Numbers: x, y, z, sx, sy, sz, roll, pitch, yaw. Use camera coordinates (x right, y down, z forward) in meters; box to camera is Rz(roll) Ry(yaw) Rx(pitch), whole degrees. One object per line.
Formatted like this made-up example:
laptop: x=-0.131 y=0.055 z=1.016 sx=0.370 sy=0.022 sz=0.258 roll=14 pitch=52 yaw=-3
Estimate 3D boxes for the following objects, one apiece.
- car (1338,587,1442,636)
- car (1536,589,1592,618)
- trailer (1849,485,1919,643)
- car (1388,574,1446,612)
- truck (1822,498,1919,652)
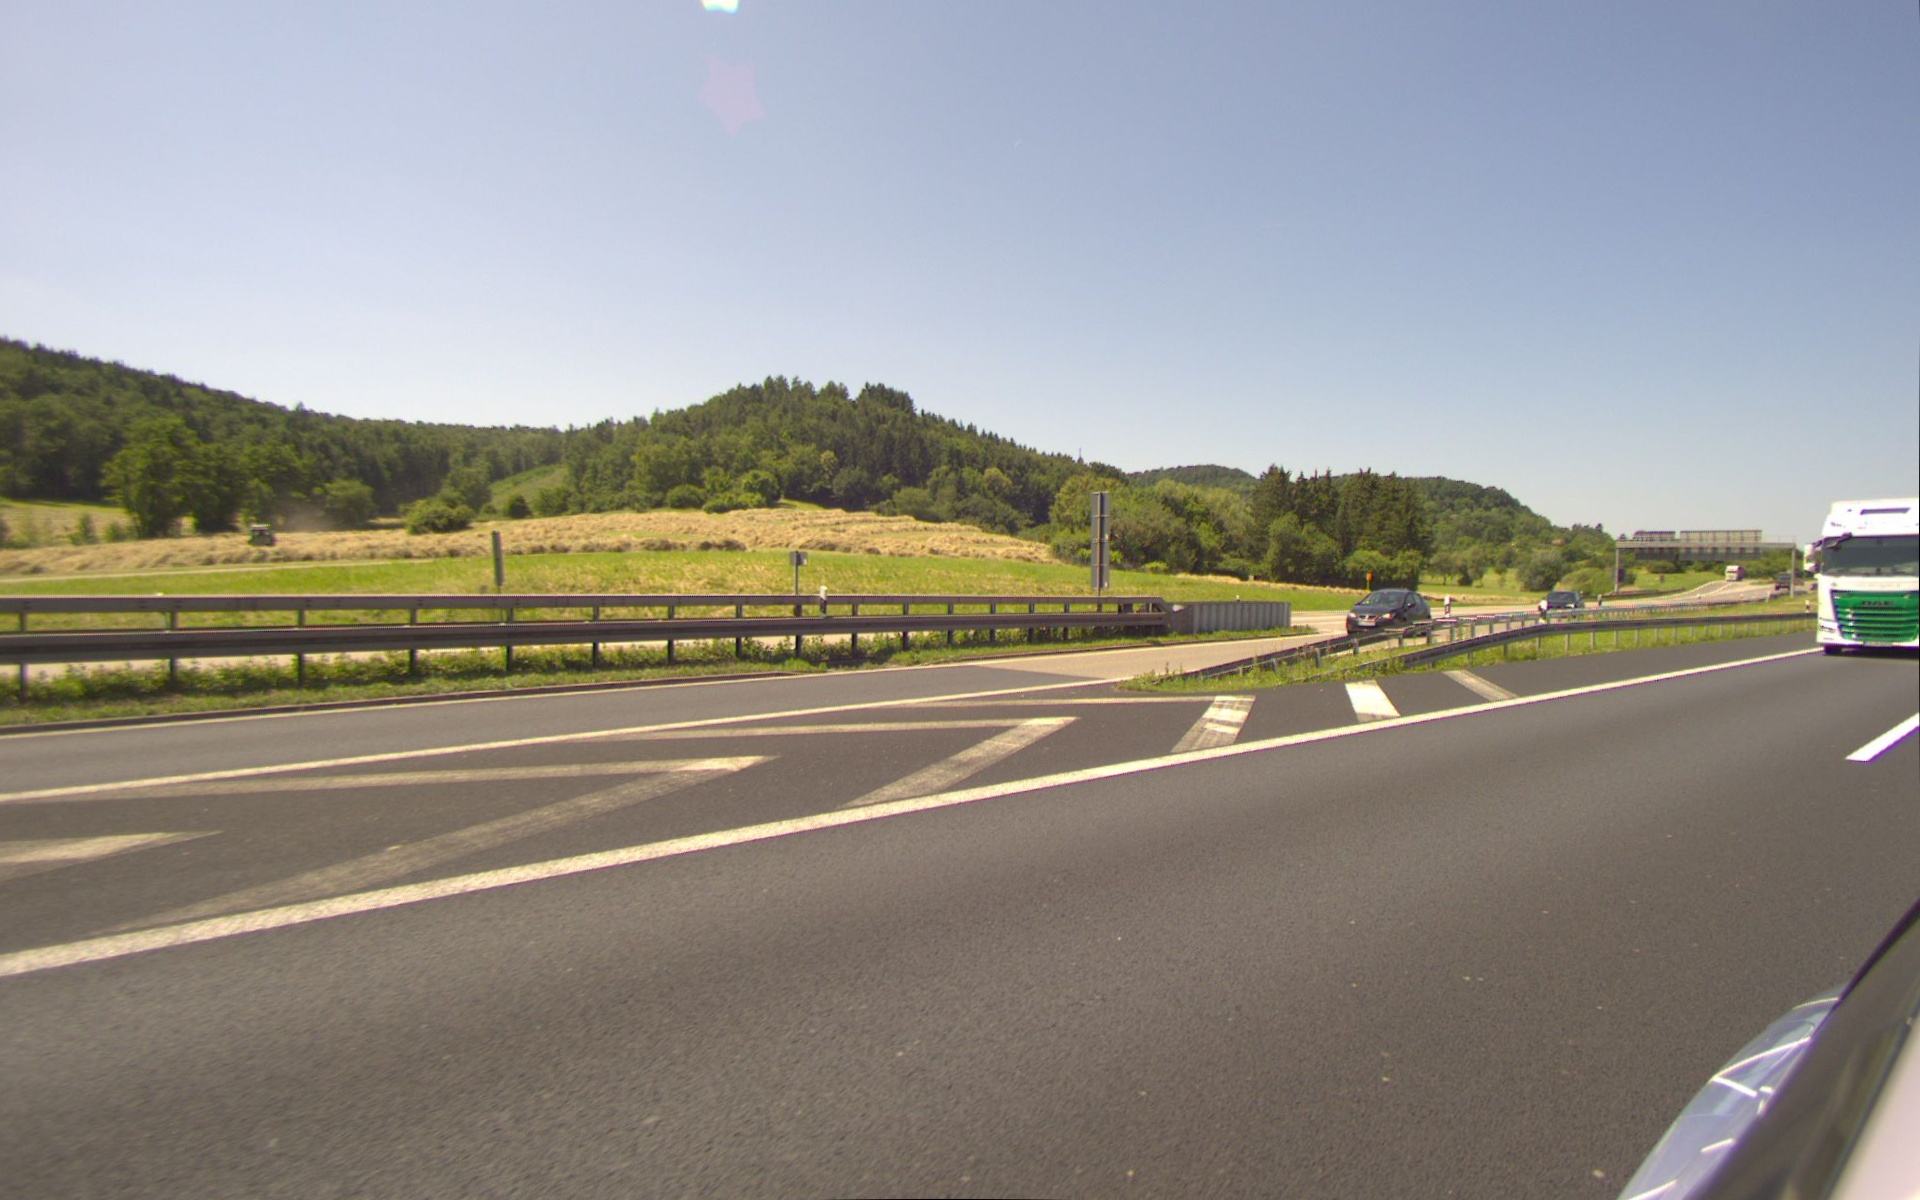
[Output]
car: x=13.453 y=0.318 z=31.563 sx=1.777 sy=1.417 sz=3.701 roll=0 pitch=0 yaw=44
car: x=32.240 y=0.164 z=54.003 sx=1.885 sy=1.491 sz=3.809 roll=0 pitch=0 yaw=42
trailer: x=31.070 y=-1.018 z=31.951 sx=14.636 sy=4.241 sz=2.660 roll=-1 pitch=0 yaw=-41
car: x=25.802 y=-0.432 z=57.050 sx=1.991 sy=2.038 sz=3.943 roll=2 pitch=2 yaw=39
truck: x=23.981 y=-0.621 z=25.648 sx=4.328 sy=3.638 sz=2.646 roll=-1 pitch=0 yaw=-42
